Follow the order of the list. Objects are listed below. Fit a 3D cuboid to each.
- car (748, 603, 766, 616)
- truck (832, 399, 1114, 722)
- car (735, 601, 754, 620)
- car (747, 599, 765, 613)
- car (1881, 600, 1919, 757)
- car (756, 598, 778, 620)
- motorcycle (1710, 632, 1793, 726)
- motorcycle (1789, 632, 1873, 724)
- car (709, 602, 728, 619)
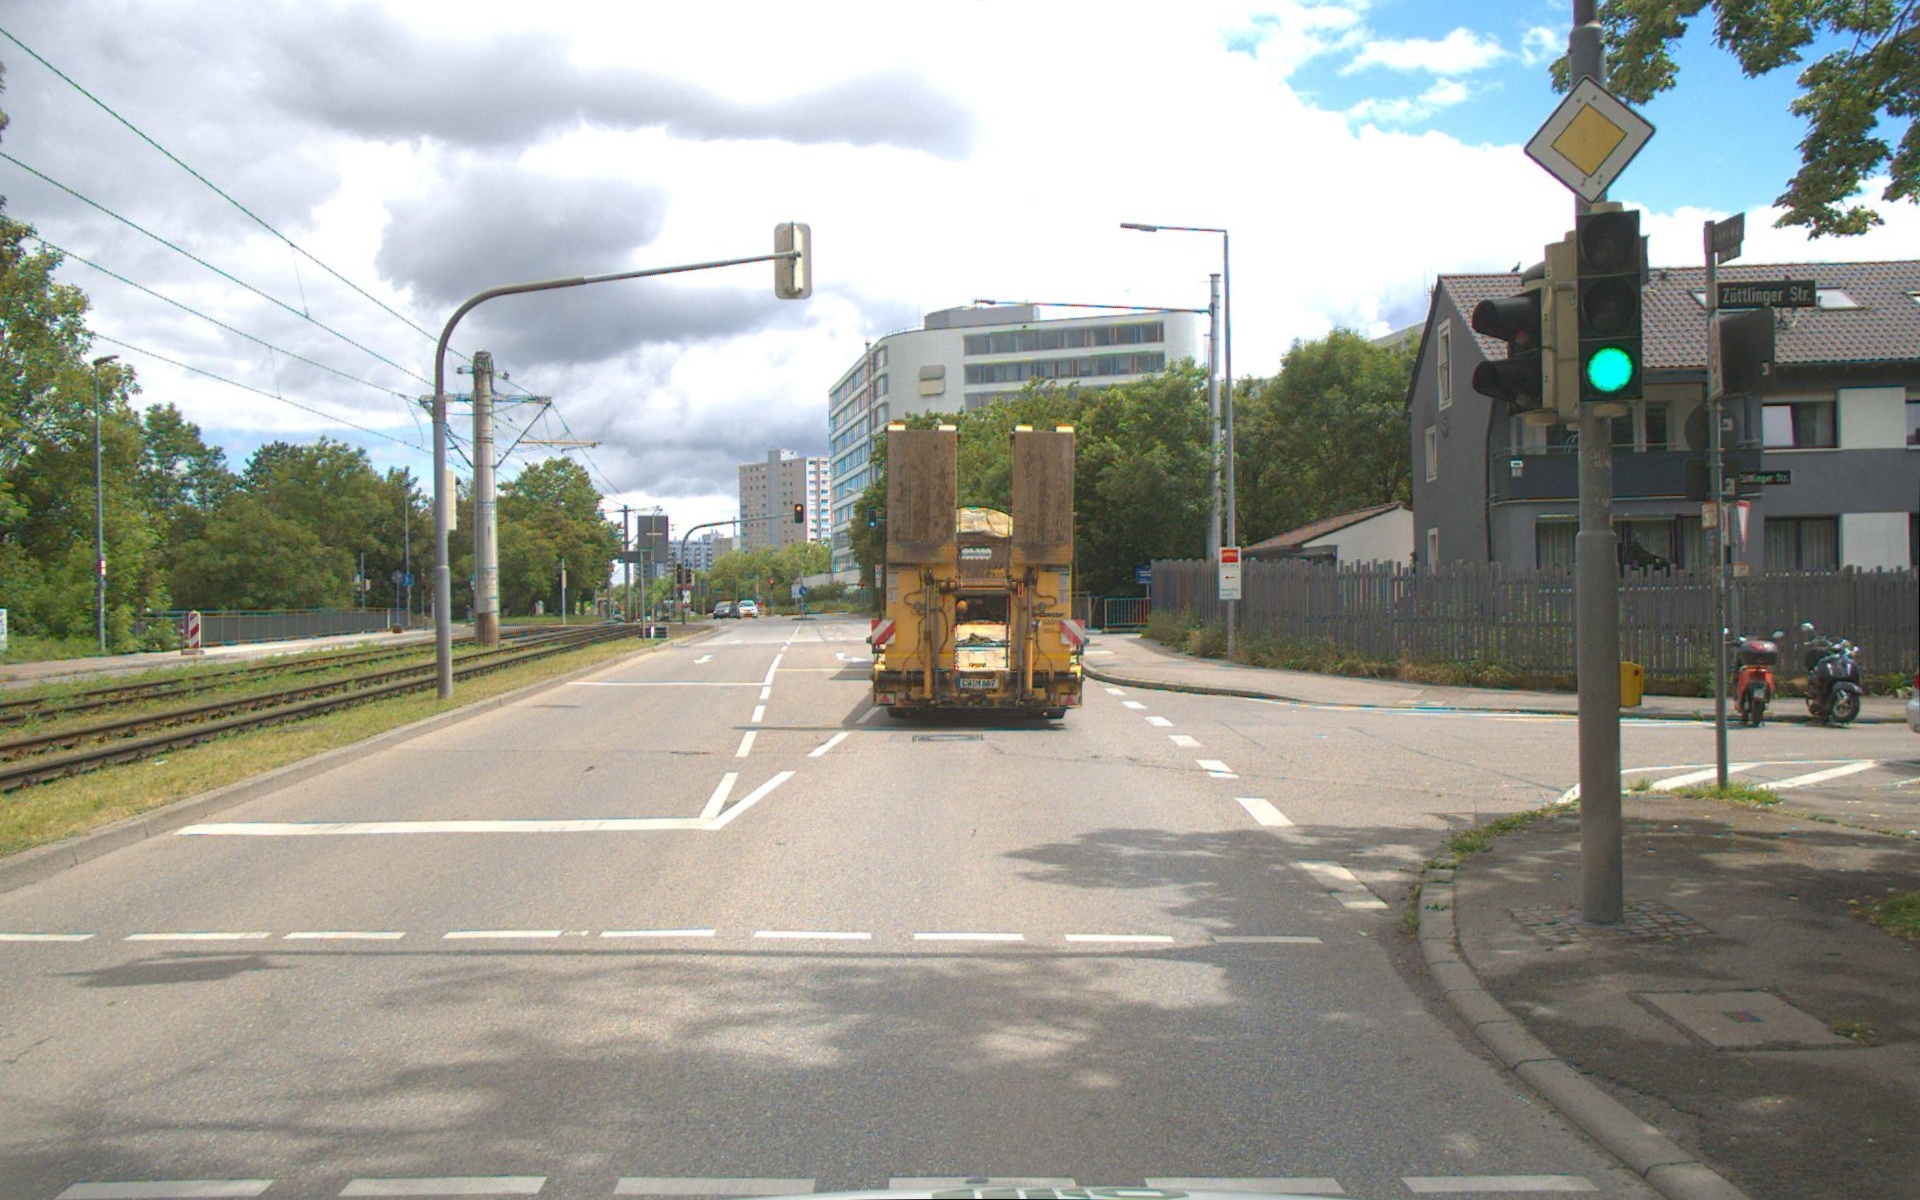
[{"bbox_3d":[-23.075,1.111,187.864,1.956,1.445,3.993,1,0,-8],"label":"car"},{"bbox_3d":[-0.120,-0.403,25.388,3.250,3.715,12.554,0,0,-3],"label":"truck"},{"bbox_3d":[-19.061,0.928,146.654,1.562,1.553,3.650,-1,0,-6],"label":"car"},{"bbox_3d":[-21.956,0.655,177.948,1.956,1.445,3.993,1,0,-8],"label":"car"},{"bbox_3d":[11.716,0.801,16.678,3.913,1.581,1.935,0,0,-9],"label":"car"},{"bbox_3d":[-18.083,0.840,155.199,1.956,1.959,3.993,1,0,-8],"label":"car"},{"bbox_3d":[10.699,1.032,22.423,0.645,1.169,2.426,0,-1,17],"label":"motorcycle"},{"bbox_3d":[11.847,1.035,22.549,0.645,1.169,1.994,0,-1,17],"label":"motorcycle"},{"bbox_3d":[-23.375,1.037,160.092,1.751,1.597,4.336,-1,0,-9],"label":"car"}]
